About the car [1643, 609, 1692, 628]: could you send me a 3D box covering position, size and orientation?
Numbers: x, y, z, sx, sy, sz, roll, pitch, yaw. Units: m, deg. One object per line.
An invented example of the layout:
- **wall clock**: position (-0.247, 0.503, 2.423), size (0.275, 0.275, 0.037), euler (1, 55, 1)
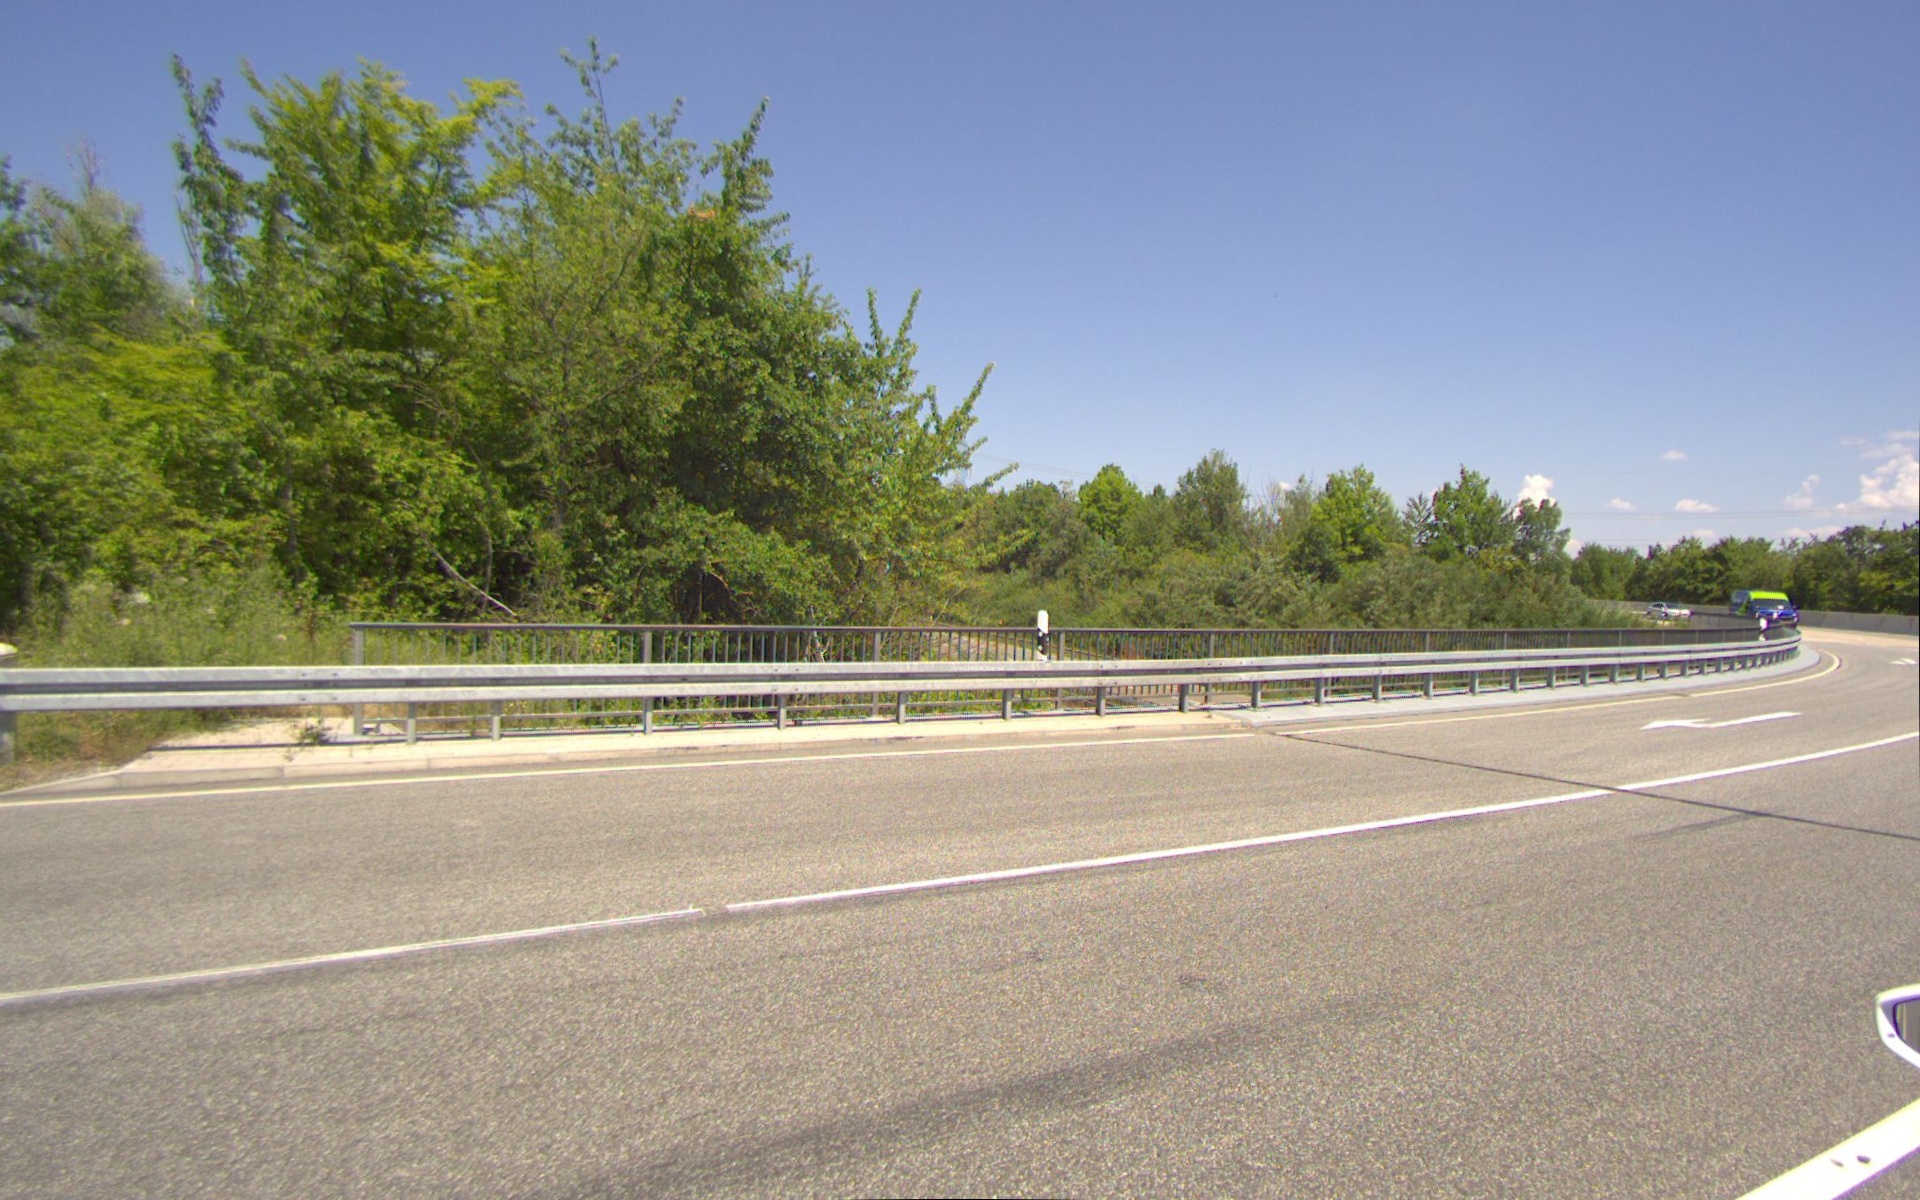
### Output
- **car**: position (58.115, 1.546, 82.617), size (1.713, 1.478, 4.370), euler (-1, -1, 12)

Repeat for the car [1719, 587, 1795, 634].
- **car**: position (47.756, 0.572, 60.329), size (1.962, 2.517, 5.478), euler (-4, 0, 22)
